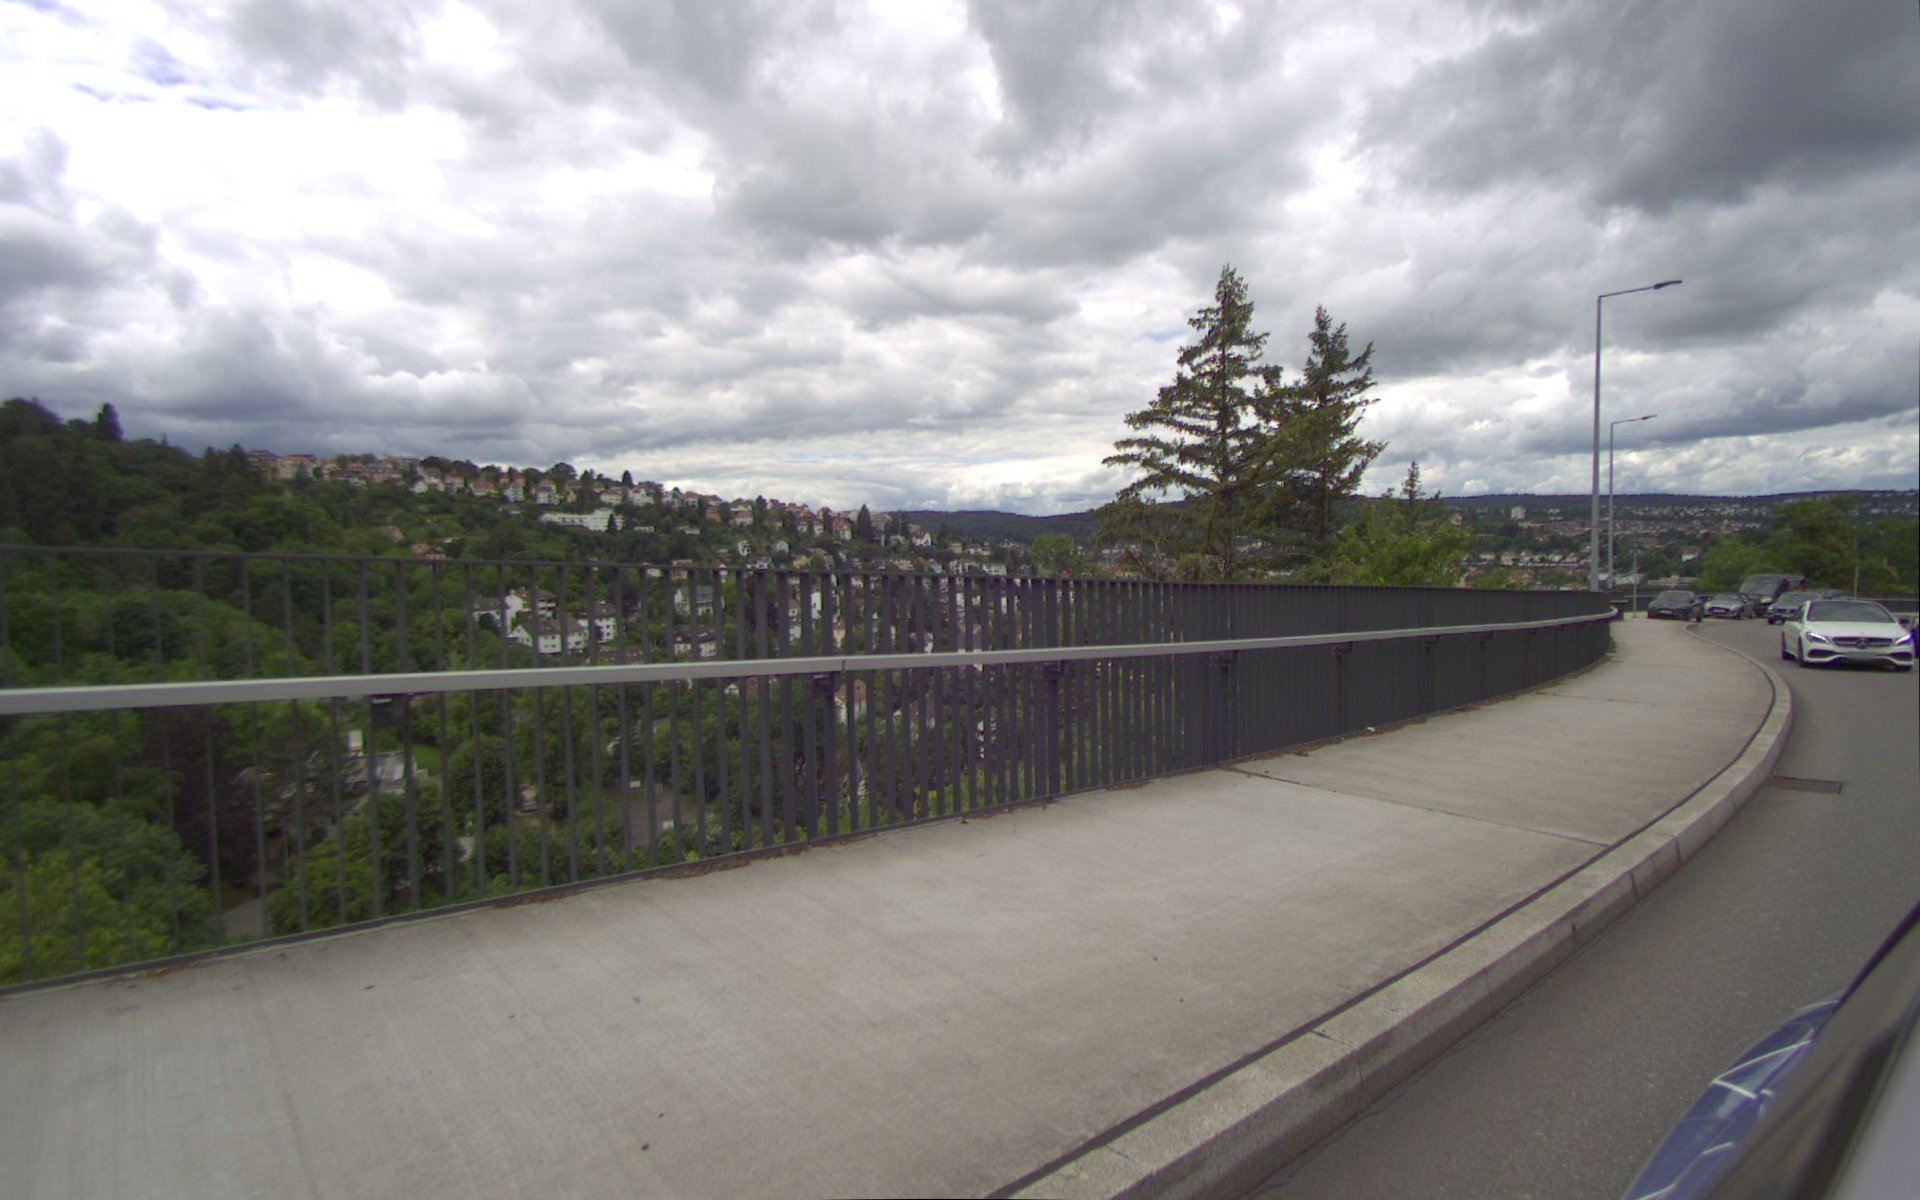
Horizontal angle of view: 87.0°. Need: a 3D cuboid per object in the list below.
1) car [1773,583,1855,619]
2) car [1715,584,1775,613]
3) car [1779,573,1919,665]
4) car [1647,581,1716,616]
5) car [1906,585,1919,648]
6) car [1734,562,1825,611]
[{"bbox_3d":[42.004,0.051,49.772,4.451,1.692,2.000,0,1,-35],"label":"car"},{"bbox_3d":[42.772,-0.120,55.125,3.781,1.448,1.719,-1,4,-39],"label":"car"},{"bbox_3d":[19.293,0.437,21.990,1.988,1.739,3.948,3,0,35],"label":"car"},{"bbox_3d":[35.153,-0.093,49.297,4.019,1.562,1.878,-1,3,-42],"label":"car"},{"bbox_3d":[23.223,0.445,22.779,1.887,1.512,4.097,3,2,30],"label":"car"},{"bbox_3d":[47.549,-0.770,58.692,5.657,2.551,2.177,0,6,-32],"label":"car"}]
